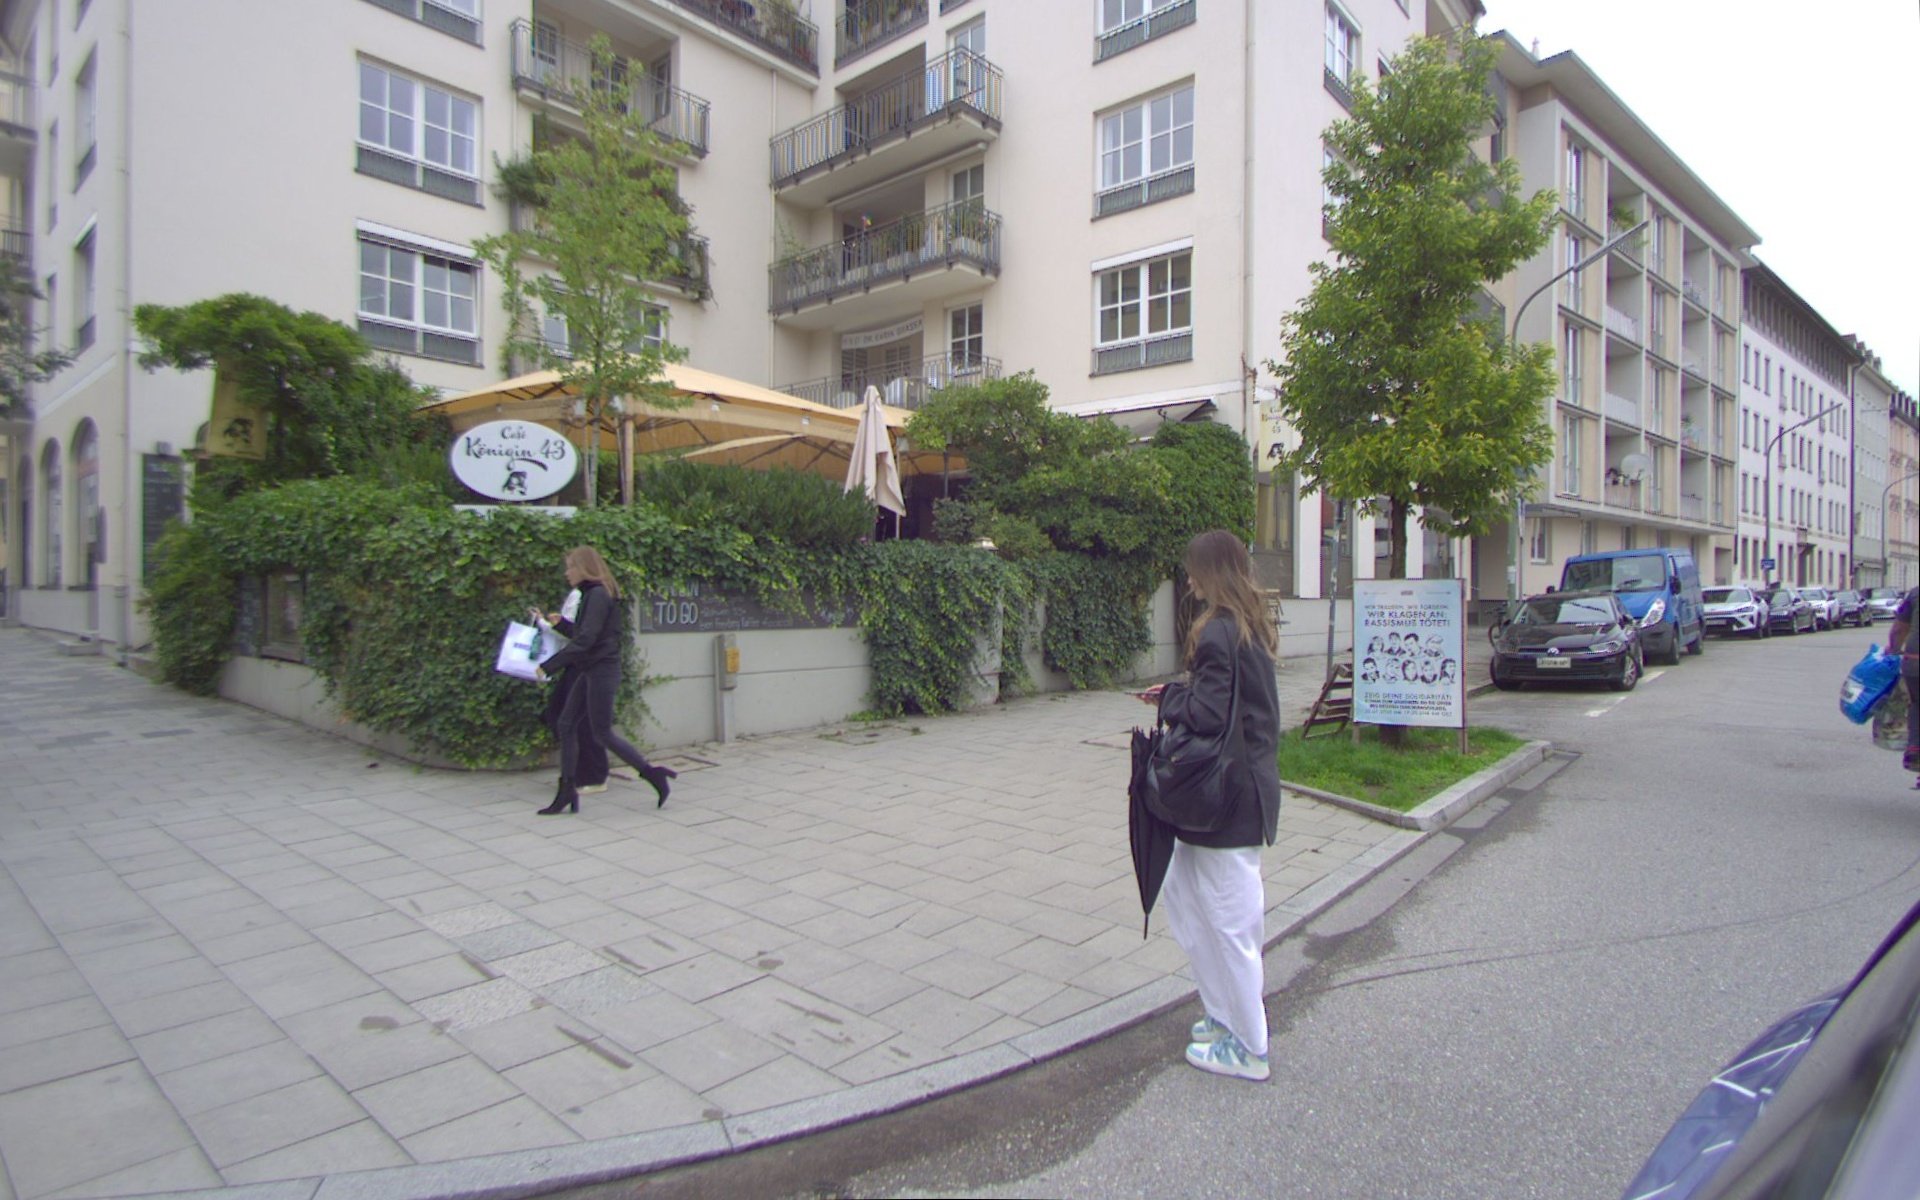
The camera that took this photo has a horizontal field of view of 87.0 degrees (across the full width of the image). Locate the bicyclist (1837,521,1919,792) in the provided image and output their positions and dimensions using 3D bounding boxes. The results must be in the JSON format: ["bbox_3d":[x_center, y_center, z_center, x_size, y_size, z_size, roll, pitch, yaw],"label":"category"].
[{"bbox_3d":[6.204,0.341,6.406,1.032,1.629,0.876,0,1,-43],"label":"bicyclist"}]

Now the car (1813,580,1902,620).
[{"bbox_3d":[33.669,0.002,37.933,4.411,1.399,1.830,0,-2,-40],"label":"car"}]

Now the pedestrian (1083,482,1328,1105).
[{"bbox_3d":[0.792,0.520,3.200,0.539,1.718,0.660,3,2,30],"label":"pedestrian"}]

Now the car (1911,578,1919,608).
[{"bbox_3d":[49.398,-0.328,50.888,4.619,1.466,1.876,0,-1,-42],"label":"car"}]

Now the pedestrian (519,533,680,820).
[{"bbox_3d":[-2.247,0.423,6.307,0.813,1.648,0.681,-1,2,-33],"label":"pedestrian"}]

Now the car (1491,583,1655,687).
[{"bbox_3d":[9.679,0.486,15.838,1.710,1.412,3.946,-3,-1,38],"label":"car"}]

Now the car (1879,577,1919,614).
[{"bbox_3d":[42.102,-0.203,44.783,3.319,1.536,1.617,0,-3,-40],"label":"car"}]

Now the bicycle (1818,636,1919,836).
[{"bbox_3d":[6.136,0.792,6.353,2.153,1.032,0.877,0,1,-43],"label":"bicycle"}]

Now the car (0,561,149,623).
[{"bbox_3d":[-23.738,-0.211,26.737,1.571,1.549,3.428,1,1,42],"label":"car"}]

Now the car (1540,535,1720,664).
[{"bbox_3d":[13.703,-0.067,20.554,2.108,2.242,4.952,-5,-2,43],"label":"car"}]

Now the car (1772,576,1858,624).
[{"bbox_3d":[29.634,0.001,35.046,4.050,1.488,1.703,-1,-3,-43],"label":"car"}]

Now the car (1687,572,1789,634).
[{"bbox_3d":[21.923,0.106,28.450,1.775,1.543,4.236,-5,-3,43],"label":"car"}]

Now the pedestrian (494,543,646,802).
[{"bbox_3d":[-2.666,0.433,6.907,0.814,1.626,0.810,-1,2,-34],"label":"pedestrian"}]

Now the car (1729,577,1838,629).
[{"bbox_3d":[25.815,0.086,31.672,4.610,1.448,1.774,0,-4,-40],"label":"car"}]

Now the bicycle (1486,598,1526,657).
[{"bbox_3d":[10.653,0.505,19.718,0.562,1.083,1.766,1,1,32],"label":"bicycle"}]
